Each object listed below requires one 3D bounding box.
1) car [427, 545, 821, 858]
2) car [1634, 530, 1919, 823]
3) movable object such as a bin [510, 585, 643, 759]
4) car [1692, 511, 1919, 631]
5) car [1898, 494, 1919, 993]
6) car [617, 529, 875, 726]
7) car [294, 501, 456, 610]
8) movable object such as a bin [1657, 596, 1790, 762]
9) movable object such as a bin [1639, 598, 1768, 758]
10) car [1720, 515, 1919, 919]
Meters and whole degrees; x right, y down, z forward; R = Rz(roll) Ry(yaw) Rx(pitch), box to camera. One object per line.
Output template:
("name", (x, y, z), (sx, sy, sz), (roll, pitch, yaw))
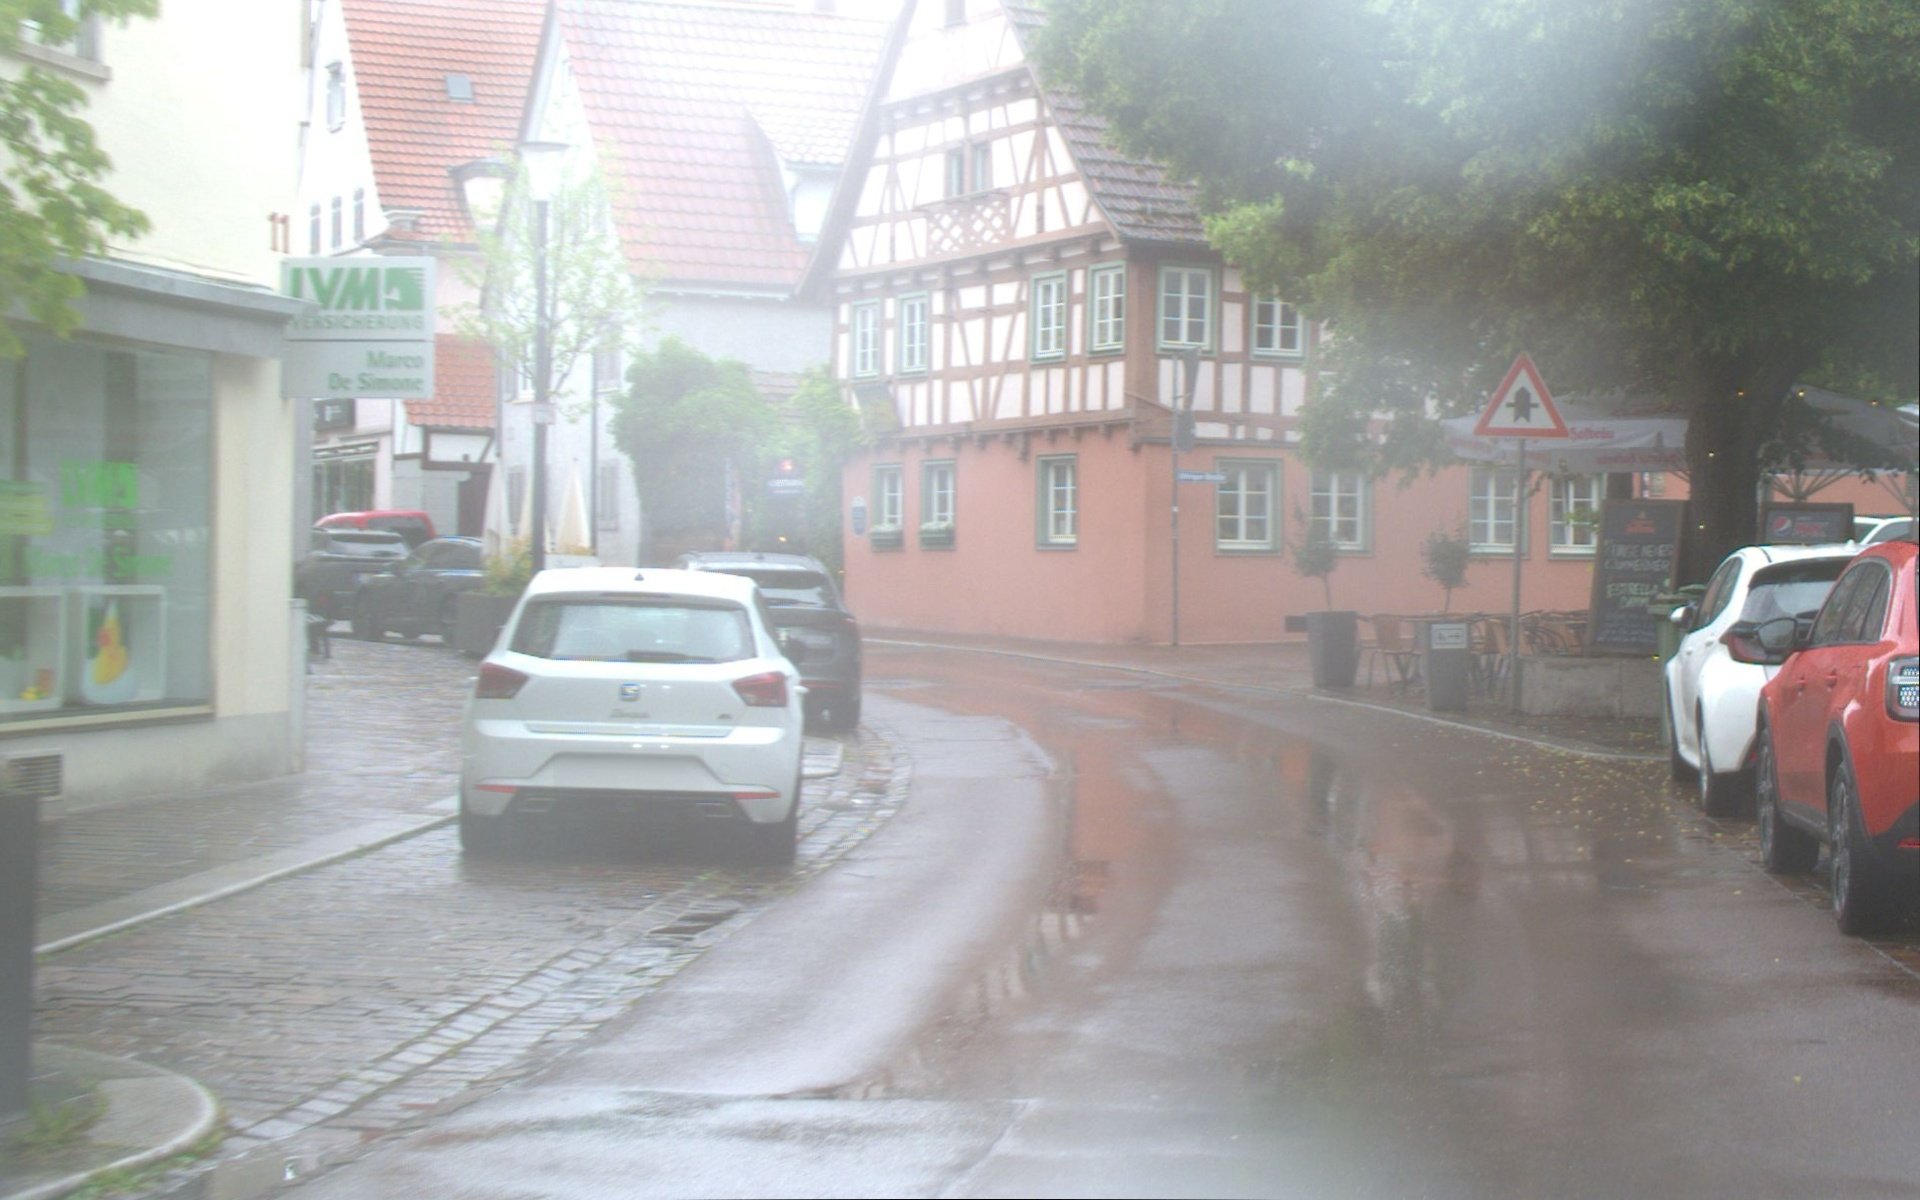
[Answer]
("car", (-1.698, 0.458, 18.518), (1.849, 1.447, 4.073), (1, 1, -2))
("car", (5.035, 0.390, 20.214), (1.788, 1.550, 3.948), (0, 0, 7))
("movable object such as a bin", (-2.596, 0.488, 23.318), (0.700, 1.118, 0.719), (4, -1, 5))
("car", (13.105, -0.457, 49.854), (4.600, 1.627, 2.001), (-1, 3, -27))
("car", (3.833, 0.480, 8.986), (1.788, 1.593, 4.439), (-1, 1, 4))
("car", (-1.928, 0.219, 29.732), (1.875, 1.535, 4.401), (1, 0, -8))
("car", (-10.652, -0.835, 62.405), (1.893, 1.805, 4.001), (3, 1, -24))
("movable object such as a bin", (5.141, 0.528, 23.178), (0.725, 1.089, 0.610), (1, -1, -3))
("movable object such as a bin", (5.155, 0.539, 23.858), (0.725, 1.079, 0.605), (1, -1, -3))
("car", (4.358, 0.477, 14.411), (1.788, 1.463, 3.948), (1, -1, 5))
